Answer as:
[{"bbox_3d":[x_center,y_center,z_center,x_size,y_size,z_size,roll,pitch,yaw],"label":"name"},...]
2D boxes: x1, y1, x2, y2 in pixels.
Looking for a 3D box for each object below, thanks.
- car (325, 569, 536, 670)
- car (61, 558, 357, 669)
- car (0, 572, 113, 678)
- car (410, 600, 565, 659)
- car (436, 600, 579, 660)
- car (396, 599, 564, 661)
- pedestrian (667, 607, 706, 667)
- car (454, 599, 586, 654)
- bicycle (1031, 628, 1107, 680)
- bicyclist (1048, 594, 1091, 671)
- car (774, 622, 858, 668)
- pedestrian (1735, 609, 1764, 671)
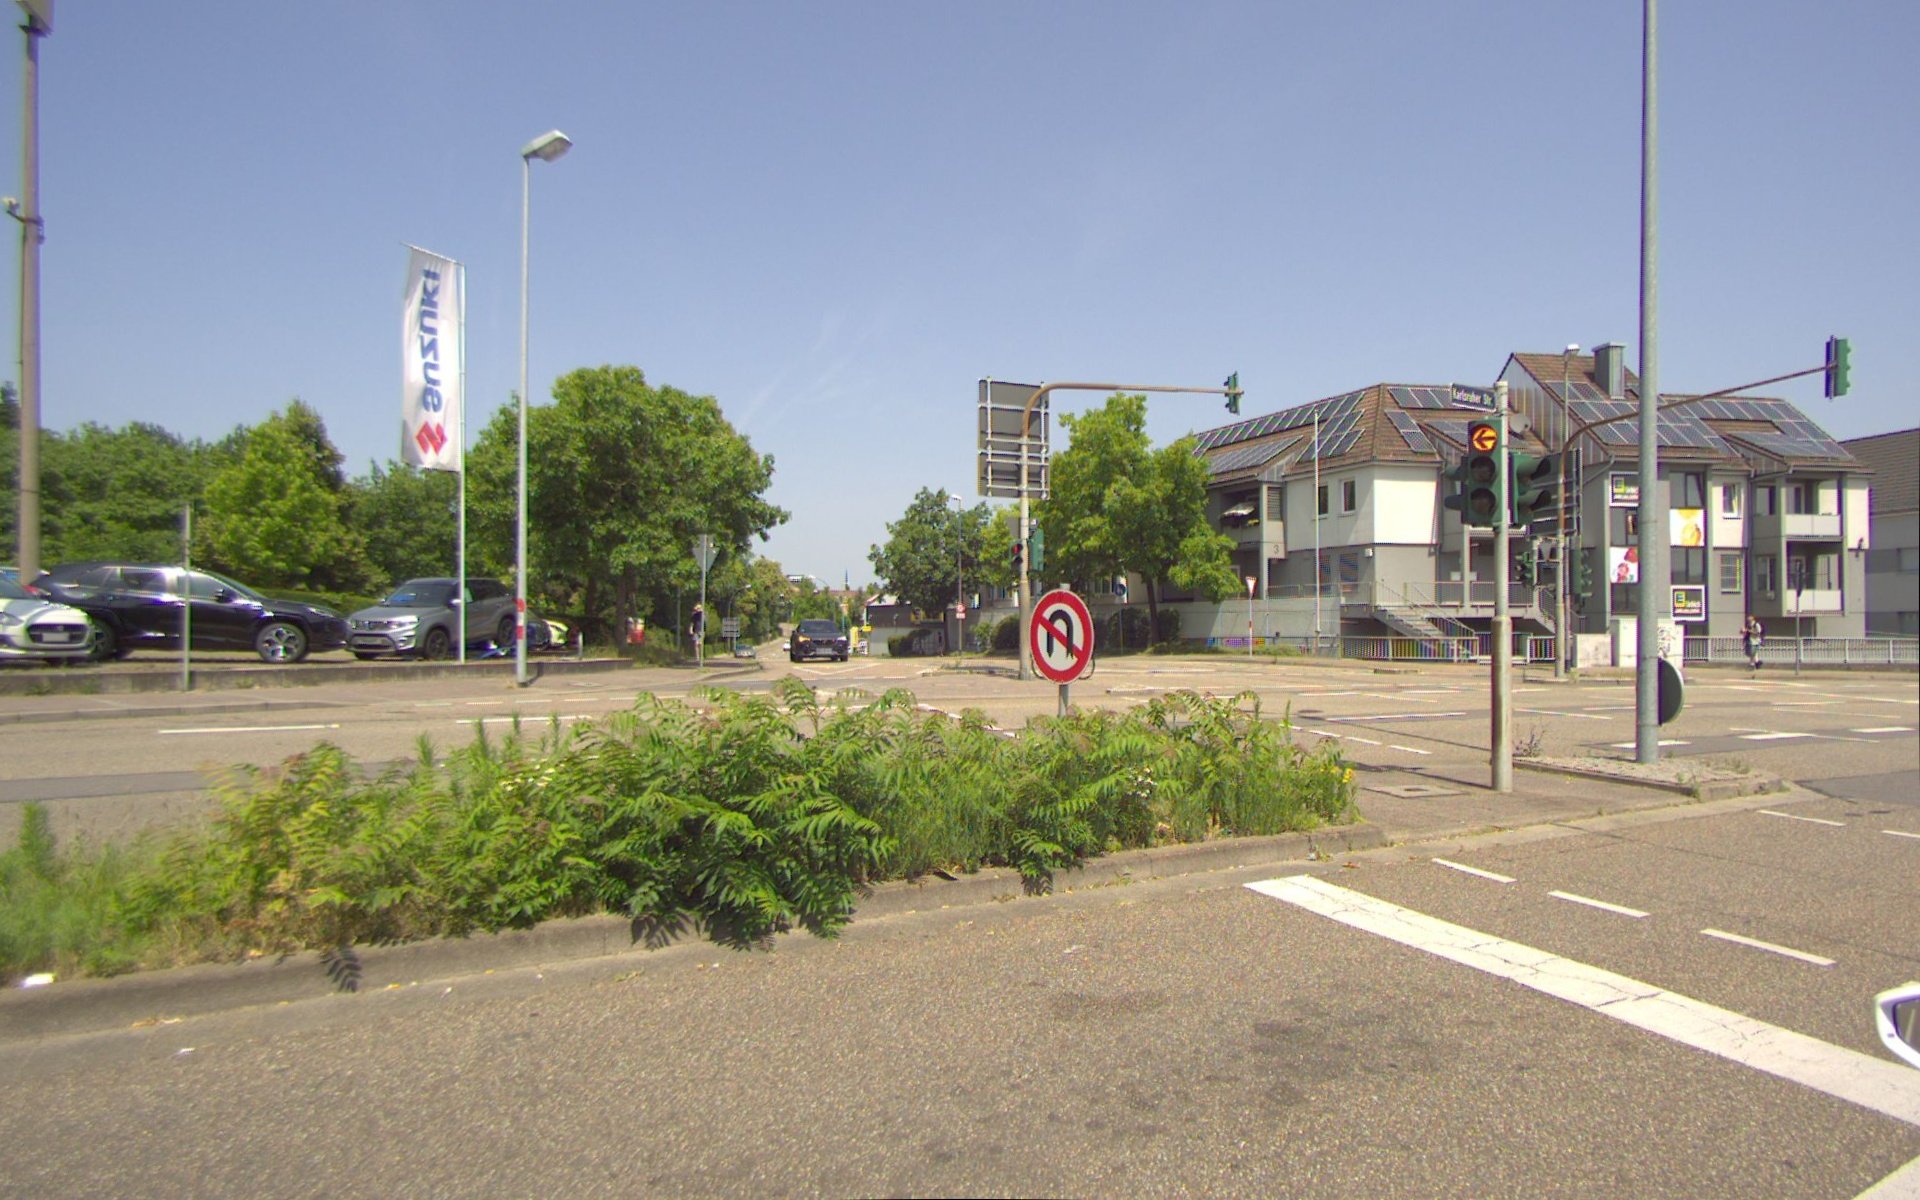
[{"bbox_3d":[-11.331,0.464,21.887,1.792,1.926,4.313,2,-2,8],"label":"car"},{"bbox_3d":[-13.259,0.287,18.078,3.966,1.746,1.832,3,-2,-29],"label":"car"},{"bbox_3d":[-14.975,0.309,14.762,3.882,1.451,1.717,2,-2,10],"label":"car"},{"bbox_3d":[-13.719,0.882,29.237,3.951,1.591,1.828,2,-2,-29],"label":"car"},{"bbox_3d":[-14.196,0.950,31.556,3.950,1.730,1.893,2,0,-28],"label":"car"},{"bbox_3d":[-12.908,0.821,27.127,3.950,1.557,1.783,2,0,-28],"label":"car"},{"bbox_3d":[-8.909,1.194,32.685,0.972,1.896,0.808,2,0,-36],"label":"pedestrian"},{"bbox_3d":[-14.817,0.890,33.856,3.950,1.706,1.855,2,0,-28],"label":"car"},{"bbox_3d":[2.401,1.158,22.029,1.770,1.068,0.418,0,1,-33],"label":"bicycle"},{"bbox_3d":[2.406,0.711,22.013,0.812,1.664,0.418,2,0,-33],"label":"bicyclist"},{"bbox_3d":[-5.229,1.614,35.943,1.975,1.505,4.419,0,-3,-22],"label":"car"},{"bbox_3d":[26.366,1.322,33.540,0.733,2.041,0.500,0,1,-27],"label":"pedestrian"}]
